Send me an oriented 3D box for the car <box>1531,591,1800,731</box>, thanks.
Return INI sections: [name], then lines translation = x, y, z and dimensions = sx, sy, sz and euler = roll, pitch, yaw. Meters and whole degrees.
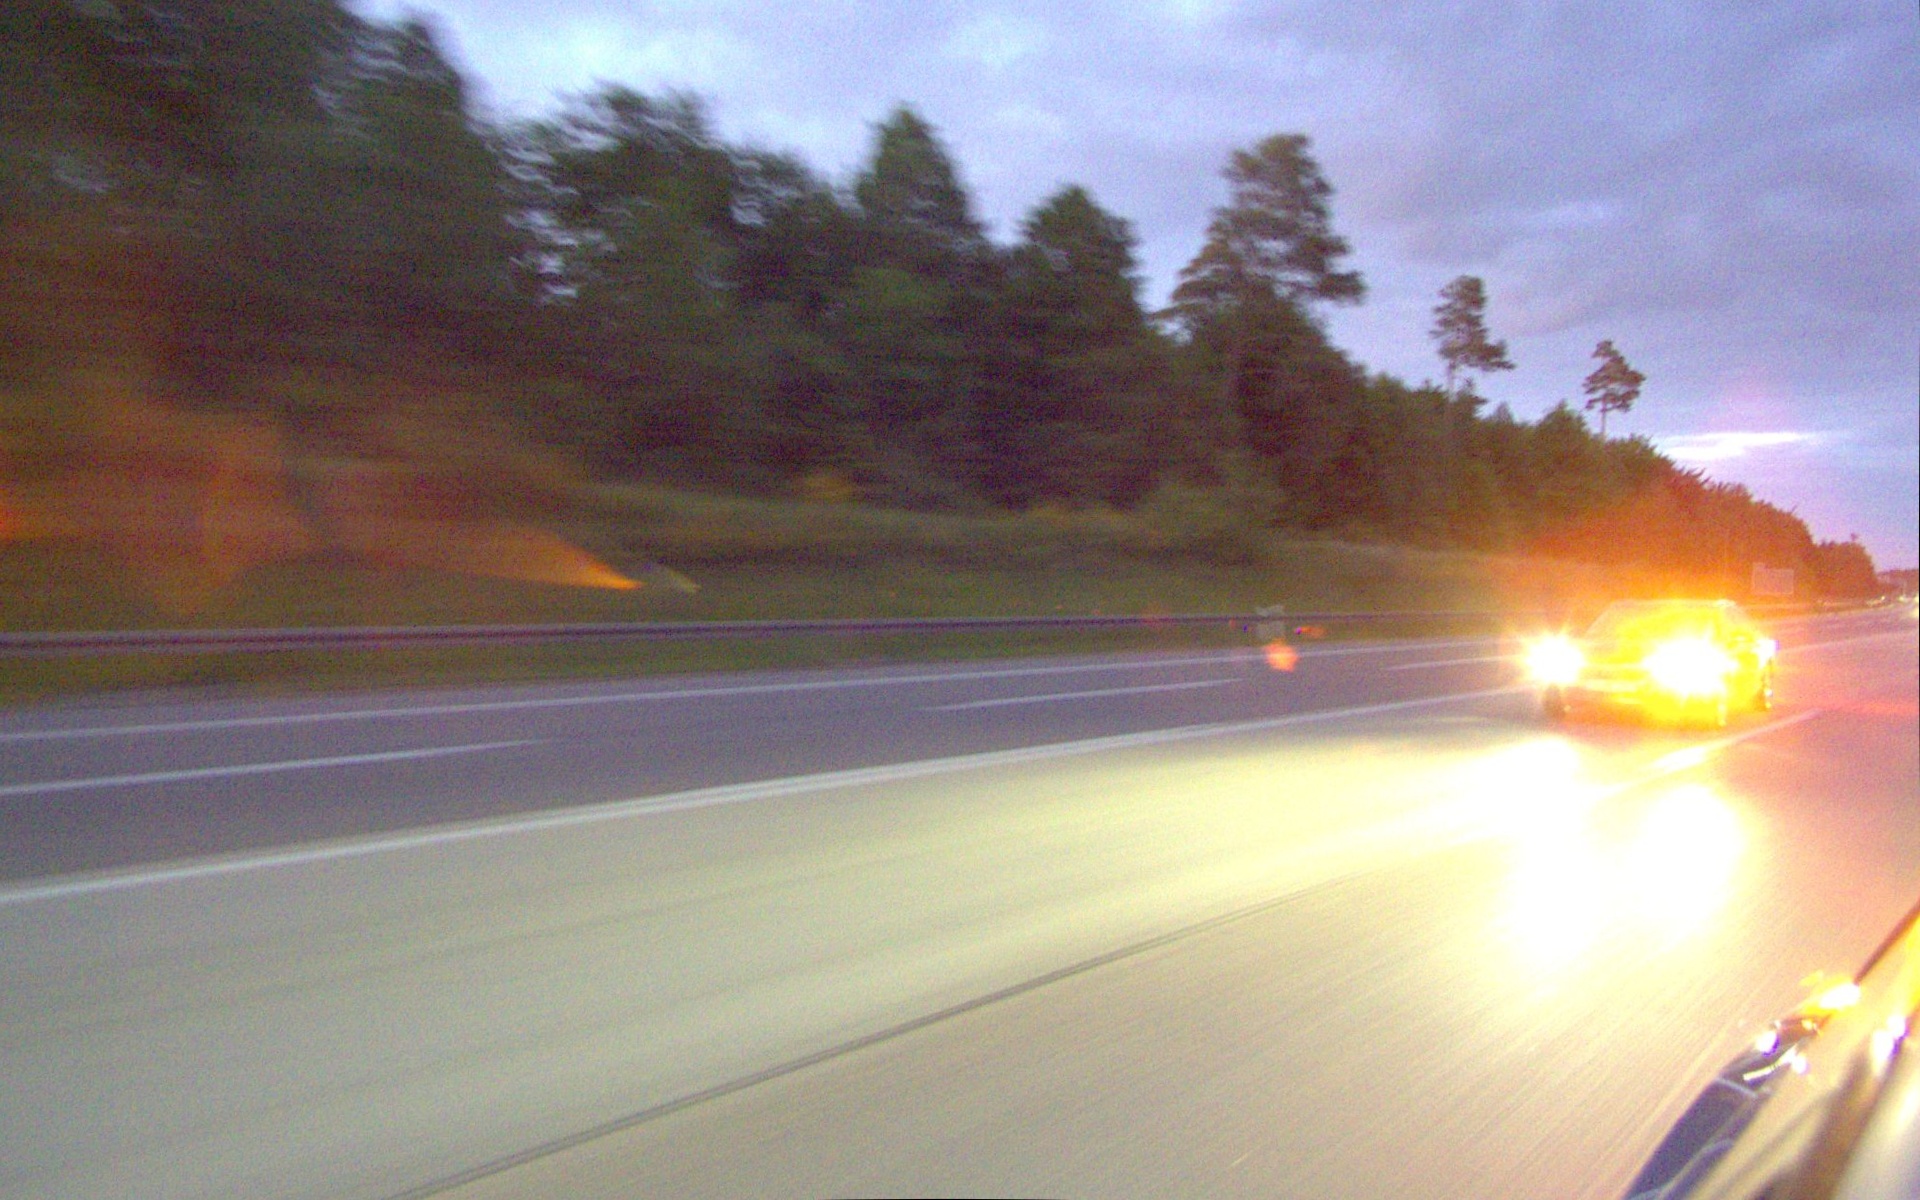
[car]
translation = 9.095, 0.631, 12.896
dimensions = 4.374, 1.461, 1.878
euler = 0, 1, -42
